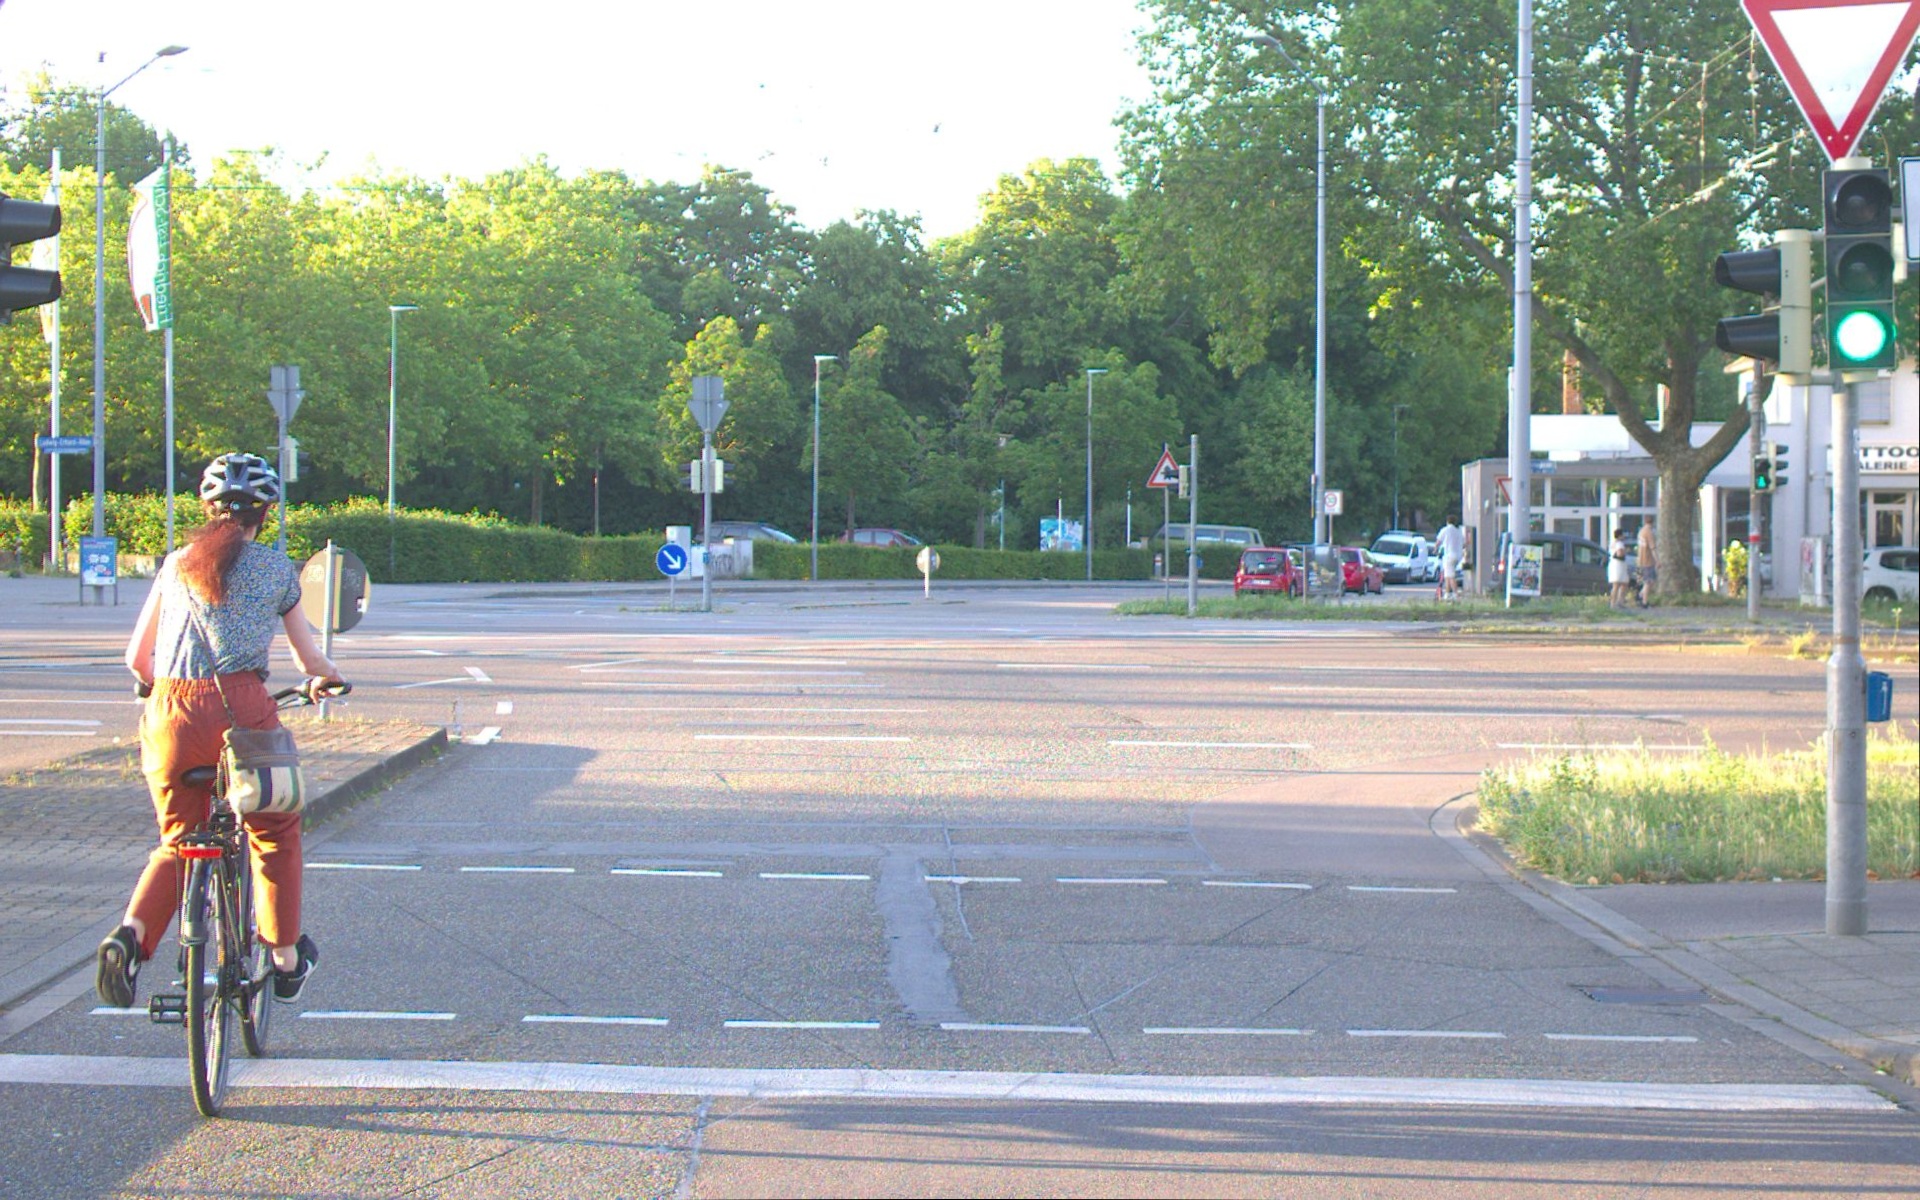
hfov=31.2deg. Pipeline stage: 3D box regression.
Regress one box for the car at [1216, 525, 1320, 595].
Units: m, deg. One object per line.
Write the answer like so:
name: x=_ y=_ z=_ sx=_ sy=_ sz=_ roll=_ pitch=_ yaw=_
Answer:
car: x=8.584 y=-1.136 z=95.612 sx=1.870 sy=1.868 sz=3.870 roll=1 pitch=2 yaw=21

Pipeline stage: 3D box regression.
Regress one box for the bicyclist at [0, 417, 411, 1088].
bicyclist: x=-2.085 y=0.380 z=9.314 sx=1.031 sy=1.712 sz=0.996 roll=1 pitch=1 yaw=-1

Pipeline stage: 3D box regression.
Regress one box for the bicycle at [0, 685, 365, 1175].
bicycle: x=-2.098 y=0.816 z=9.270 sx=0.634 sy=1.064 sz=2.122 roll=1 pitch=1 yaw=-1

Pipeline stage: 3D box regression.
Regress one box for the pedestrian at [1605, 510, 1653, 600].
pedestrian: x=13.169 y=-0.881 z=67.630 sx=0.719 sy=1.748 sz=0.896 roll=1 pitch=1 yaw=24

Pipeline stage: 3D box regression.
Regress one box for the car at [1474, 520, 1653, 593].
car: x=15.573 y=-1.130 z=88.875 sx=4.378 sy=1.828 sz=1.948 roll=1 pitch=1 yaw=5

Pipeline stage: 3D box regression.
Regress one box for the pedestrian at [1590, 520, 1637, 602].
pedestrian: x=13.093 y=-0.787 z=68.915 sx=0.719 sy=1.633 sz=0.896 roll=1 pitch=1 yaw=24

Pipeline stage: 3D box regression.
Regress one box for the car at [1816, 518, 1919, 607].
car: x=20.390 y=-0.791 z=72.387 sx=4.230 sy=1.840 sz=2.000 roll=1 pitch=1 yaw=2

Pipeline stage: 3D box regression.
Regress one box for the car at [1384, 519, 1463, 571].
car: x=18.308 y=-2.167 z=135.573 sx=1.996 sy=2.007 sz=3.995 roll=1 pitch=2 yaw=24

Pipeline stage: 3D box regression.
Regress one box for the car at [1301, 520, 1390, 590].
car: x=11.597 y=-1.374 z=103.225 sx=1.916 sy=2.040 sz=3.997 roll=1 pitch=1 yaw=17

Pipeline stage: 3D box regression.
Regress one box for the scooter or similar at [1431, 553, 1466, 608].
scooter or similar: x=9.907 y=-0.394 z=69.715 sx=0.510 sy=1.086 sz=1.243 roll=1 pitch=1 yaw=-1

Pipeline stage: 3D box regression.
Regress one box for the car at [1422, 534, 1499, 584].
car: x=16.818 y=-1.385 z=115.407 sx=1.916 sy=1.597 sz=3.997 roll=1 pitch=2 yaw=17

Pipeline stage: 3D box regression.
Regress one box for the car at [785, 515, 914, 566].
car: x=-3.499 y=-1.901 z=109.429 sx=3.987 sy=1.555 sz=2.000 roll=1 pitch=1 yaw=1

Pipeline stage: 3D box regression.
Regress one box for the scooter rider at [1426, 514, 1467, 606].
scooter rider: x=9.863 y=-0.805 z=69.749 sx=0.702 sy=1.848 sz=0.669 roll=1 pitch=0 yaw=-1

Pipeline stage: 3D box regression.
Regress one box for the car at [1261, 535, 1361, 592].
car: x=10.173 y=-1.062 z=99.411 sx=1.995 sy=1.568 sz=3.996 roll=1 pitch=2 yaw=19

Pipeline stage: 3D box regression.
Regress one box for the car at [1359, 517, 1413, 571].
car: x=16.223 y=-2.155 z=131.085 sx=1.994 sy=2.007 sz=3.999 roll=1 pitch=1 yaw=7
